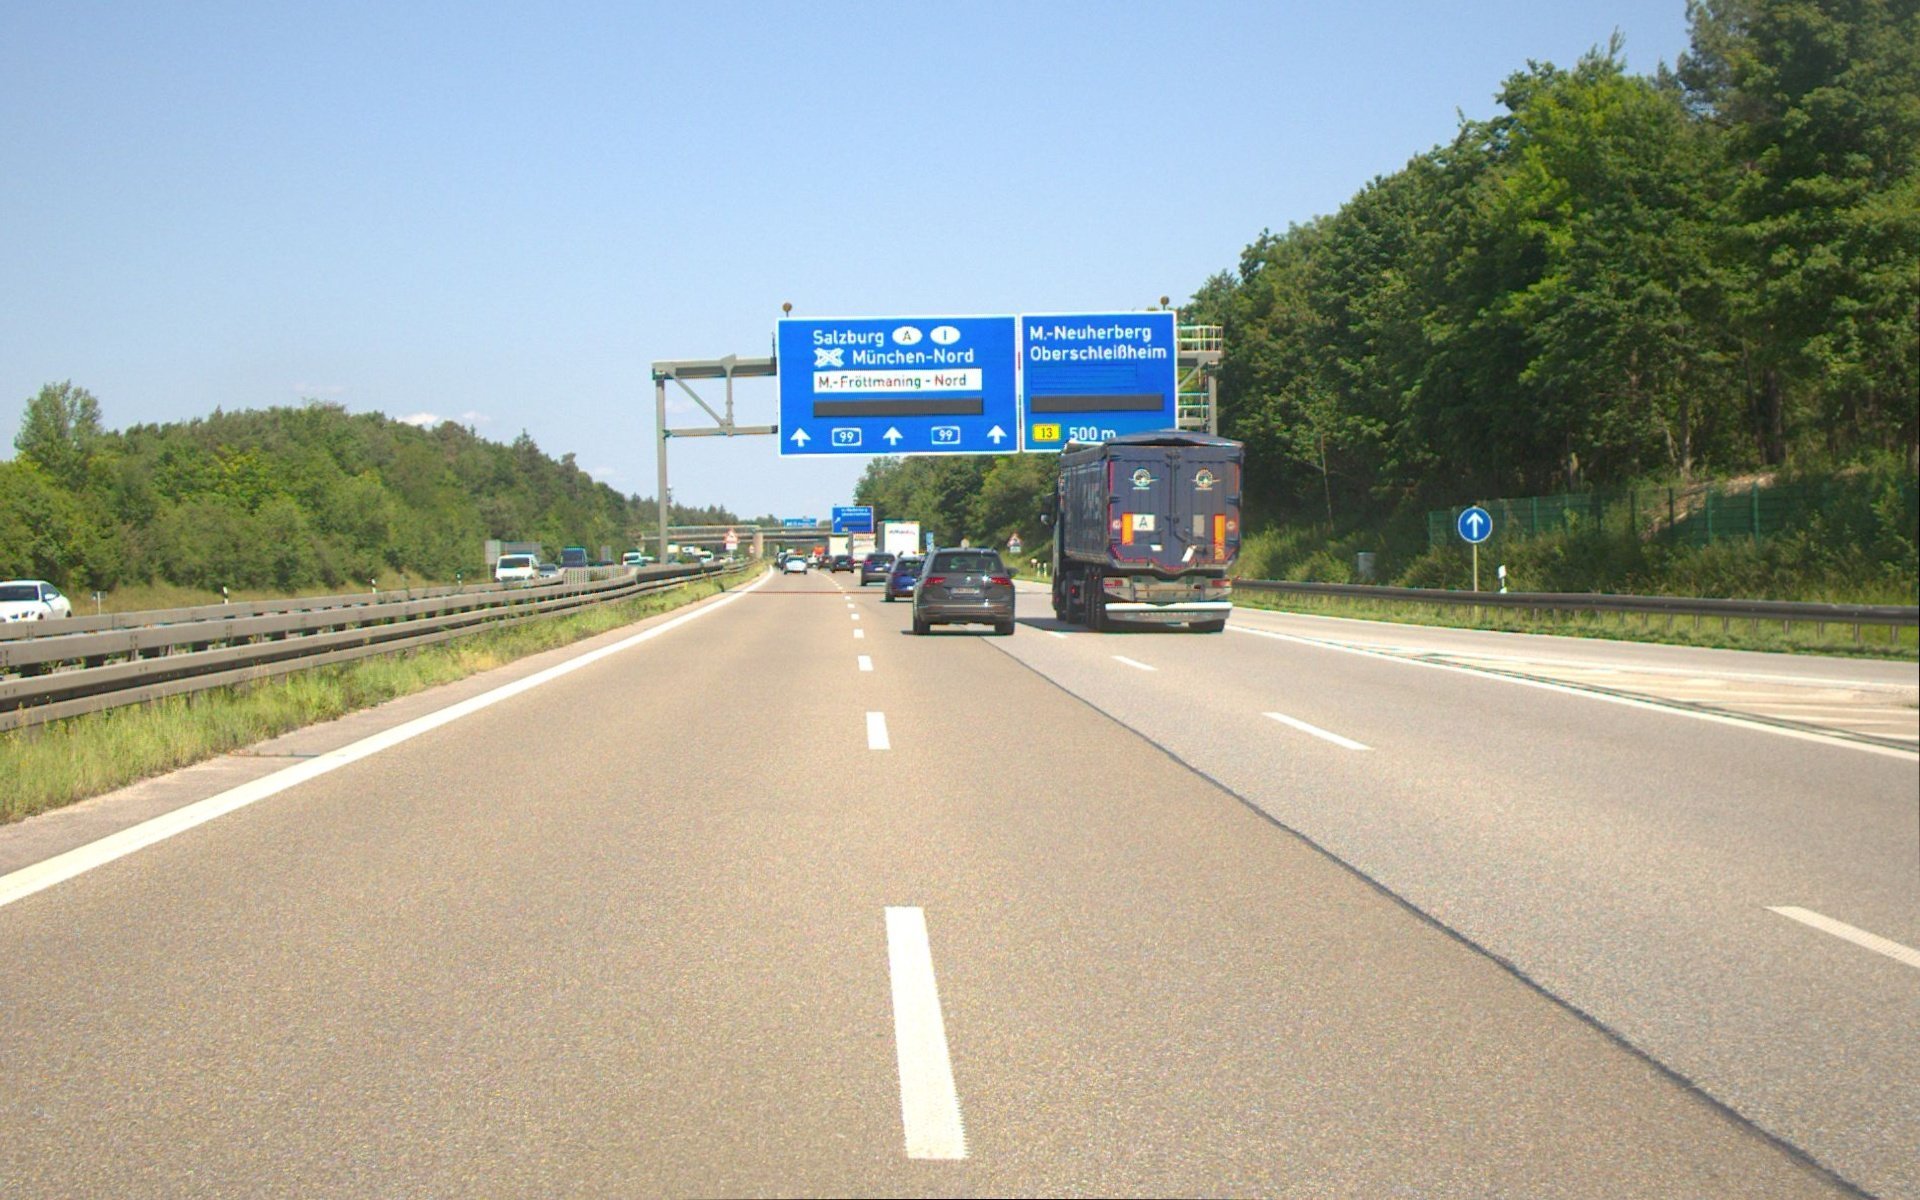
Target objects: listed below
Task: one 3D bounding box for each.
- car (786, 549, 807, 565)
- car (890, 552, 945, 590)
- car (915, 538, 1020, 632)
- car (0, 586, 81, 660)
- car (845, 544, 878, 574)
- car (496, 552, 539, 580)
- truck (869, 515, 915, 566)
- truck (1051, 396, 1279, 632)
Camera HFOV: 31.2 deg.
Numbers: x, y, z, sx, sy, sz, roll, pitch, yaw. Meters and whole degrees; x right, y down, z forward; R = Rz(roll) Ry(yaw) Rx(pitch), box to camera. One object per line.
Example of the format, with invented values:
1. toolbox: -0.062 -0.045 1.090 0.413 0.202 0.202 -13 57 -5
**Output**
1. car: -12.487 -3.301 262.445 1.471 1.223 3.410 -1 1 0
2. car: -1.340 -0.928 108.987 1.709 1.151 3.689 -1 1 0
3. car: 0.170 -0.314 64.845 1.799 1.663 4.258 1 1 2
4. car: -21.587 0.510 78.460 1.993 1.588 4.301 -1 1 -1
5. car: -4.765 -1.989 165.810 1.471 1.393 3.410 2 1 -1
6. car: -21.099 -1.624 164.051 1.604 1.295 3.791 0 1 -1
7. truck: -5.157 -4.567 263.222 3.435 3.782 13.353 0 1 -1
8. truck: 4.013 -1.740 71.308 3.780 4.407 14.051 0 1 0
